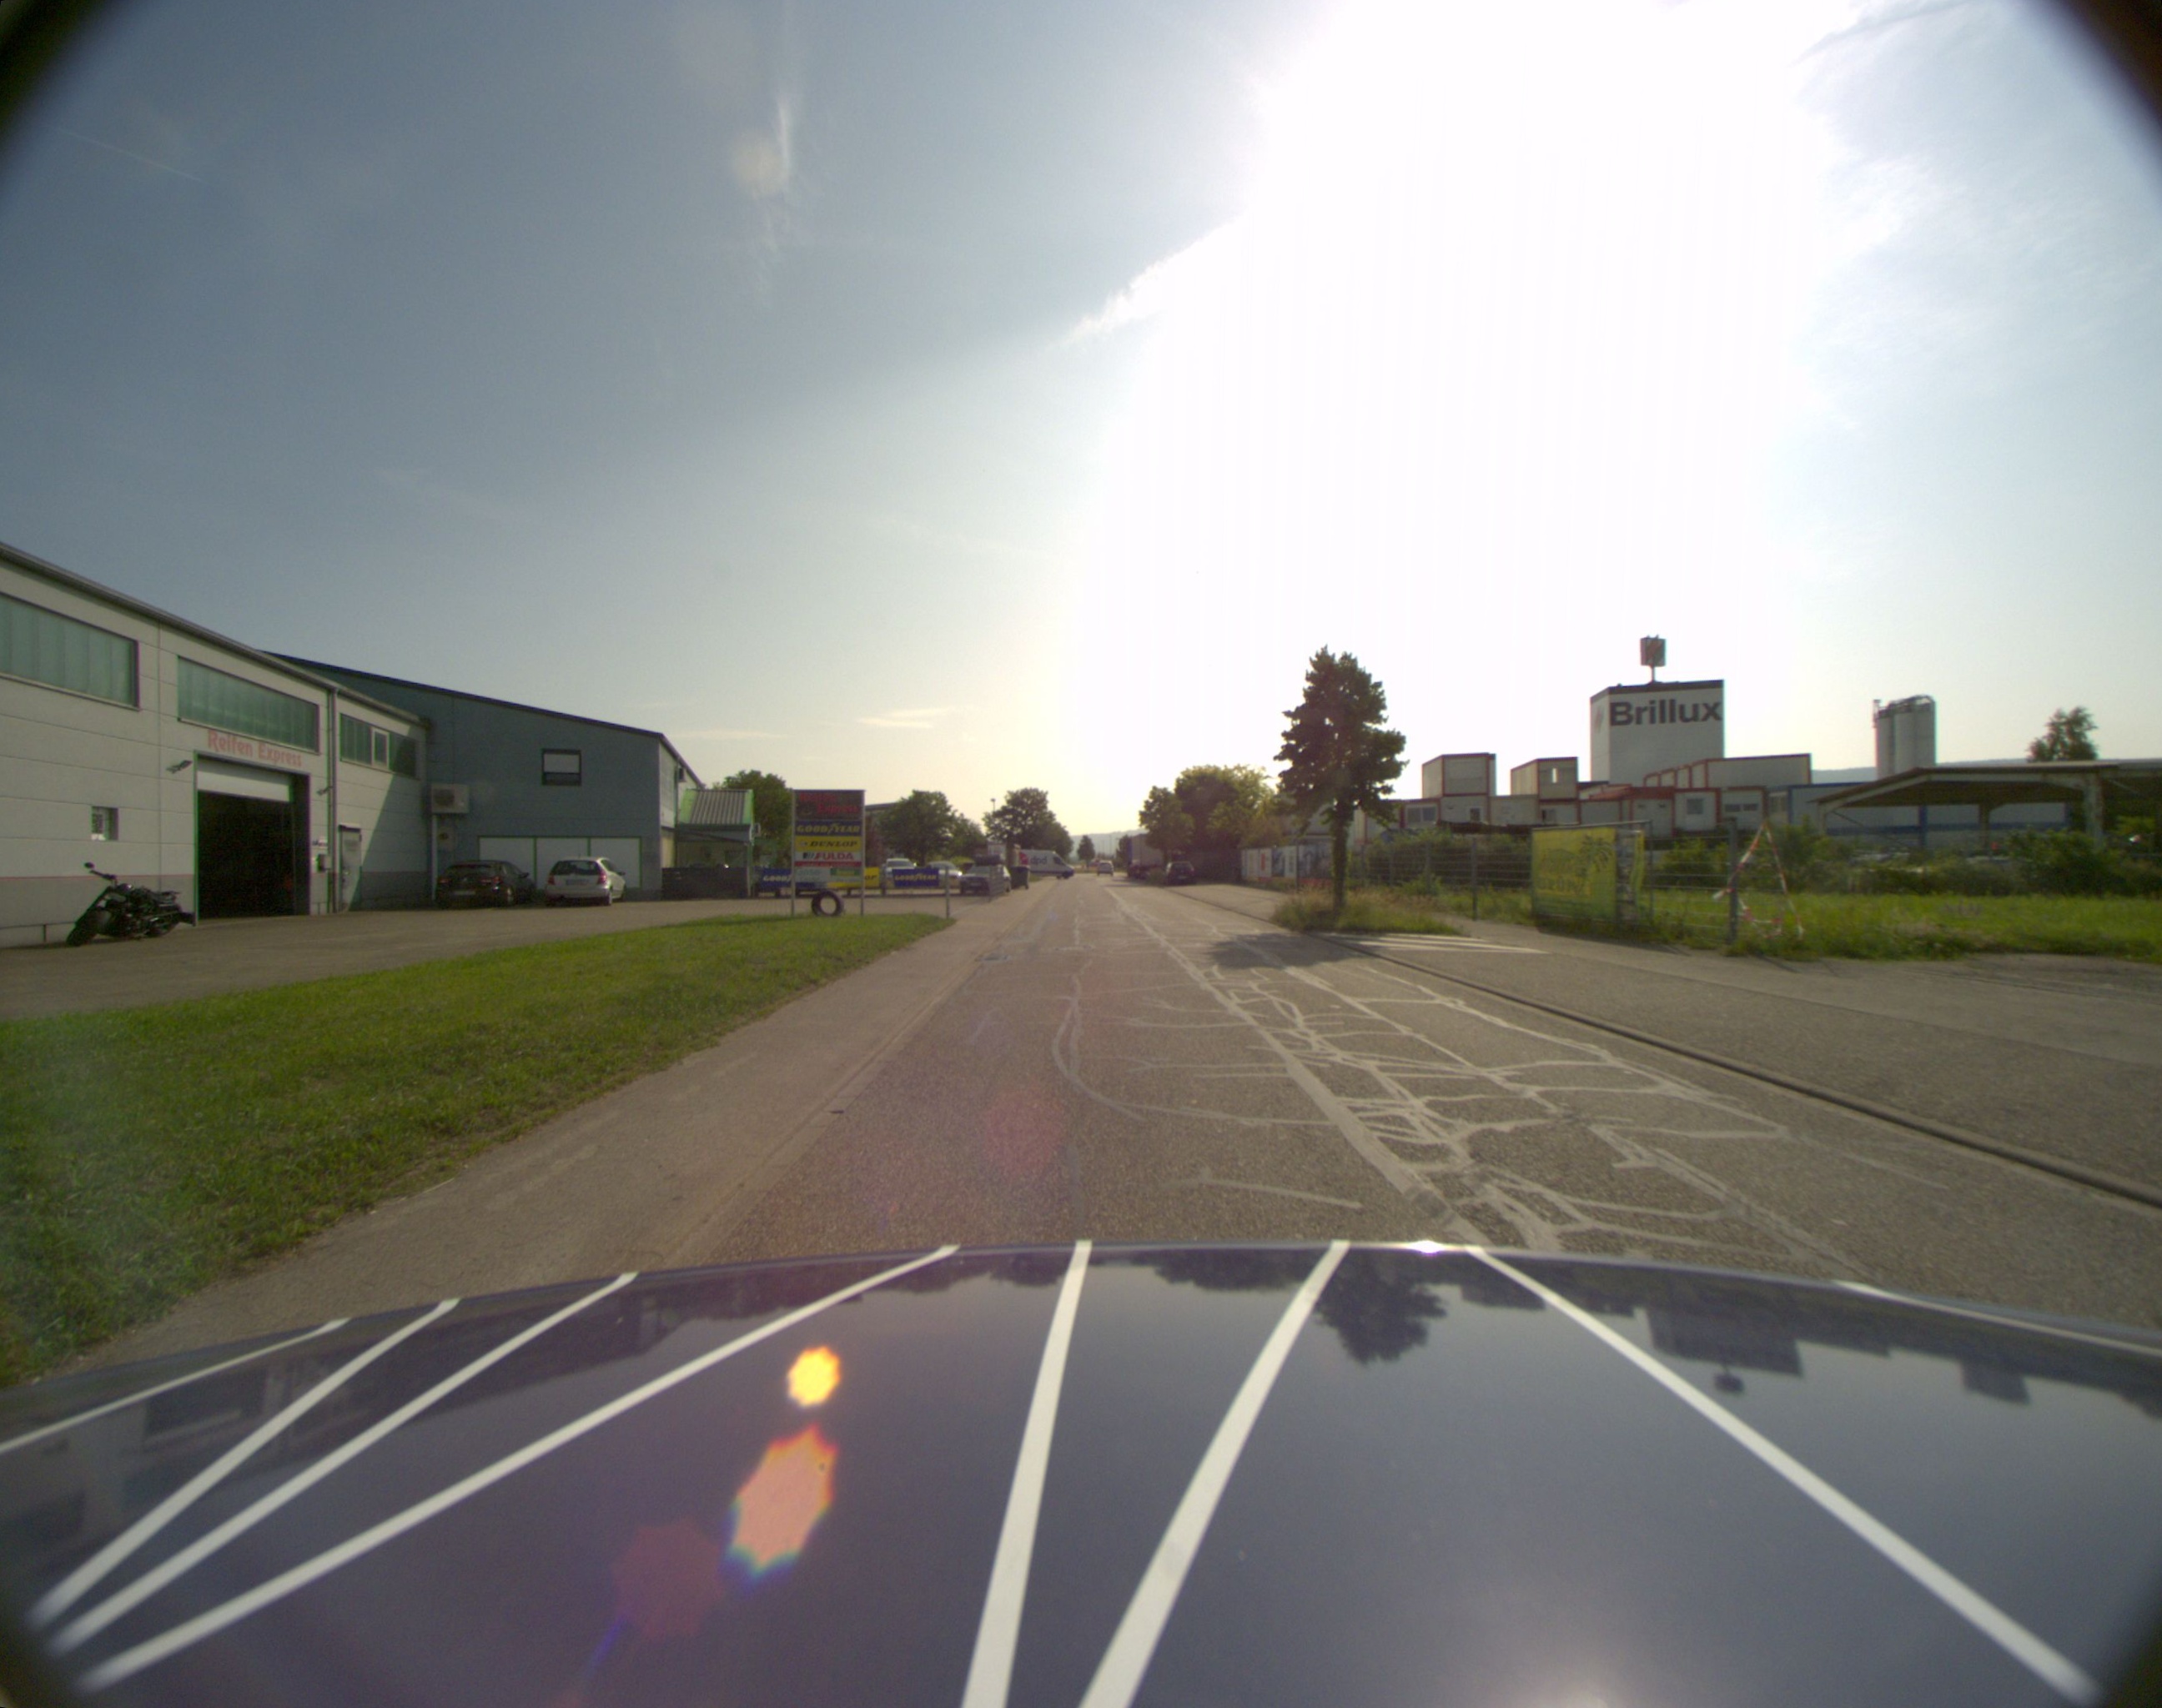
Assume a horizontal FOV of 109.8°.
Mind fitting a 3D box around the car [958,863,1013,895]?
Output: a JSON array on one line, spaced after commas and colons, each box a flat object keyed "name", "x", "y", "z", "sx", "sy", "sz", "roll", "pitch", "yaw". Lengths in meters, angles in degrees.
[{"name": "car", "x": -4.375, "y": 1.115, "z": 35.492, "sx": 1.677, "sy": 1.360, "sz": 4.395, "roll": -1, "pitch": 0, "yaw": 5}]

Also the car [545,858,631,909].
[{"name": "car", "x": -16.266, "y": 0.915, "z": 25.263, "sx": 1.641, "sy": 1.559, "sz": 3.799, "roll": -1, "pitch": 0, "yaw": -21}]

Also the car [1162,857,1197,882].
[{"name": "car", "x": 6.078, "y": 0.904, "z": 47.081, "sx": 1.691, "sy": 1.461, "sz": 4.093, "roll": -1, "pitch": 0, "yaw": 1}]

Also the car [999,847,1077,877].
[{"name": "car", "x": -3.930, "y": 0.712, "z": 69.921, "sx": 6.752, "sy": 2.524, "sz": 2.277, "roll": -2, "pitch": 0, "yaw": -23}]

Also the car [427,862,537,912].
[{"name": "car", "x": -18.675, "y": 0.984, "z": 23.861, "sx": 1.684, "sy": 1.394, "sz": 3.705, "roll": -1, "pitch": 0, "yaw": -21}]

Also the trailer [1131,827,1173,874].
[{"name": "trailer", "x": 6.189, "y": -0.283, "z": 67.583, "sx": 2.707, "sy": 3.861, "sz": 9.764, "roll": -2, "pitch": 0, "yaw": 0}]

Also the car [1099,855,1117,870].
[{"name": "car", "x": 2.955, "y": 0.972, "z": 84.877, "sx": 1.816, "sy": 1.617, "sz": 4.249, "roll": 0, "pitch": 0, "yaw": -1}]

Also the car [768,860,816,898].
[{"name": "car", "x": -12.279, "y": 0.997, "z": 32.126, "sx": 1.647, "sy": 1.457, "sz": 4.452, "roll": -1, "pitch": 0, "yaw": -24}]

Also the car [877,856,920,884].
[{"name": "car", "x": -10.864, "y": 0.907, "z": 45.113, "sx": 1.723, "sy": 1.563, "sz": 4.125, "roll": -1, "pitch": 0, "yaw": -24}]

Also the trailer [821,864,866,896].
[{"name": "trailer", "x": -10.177, "y": 1.095, "z": 32.505, "sx": 1.496, "sy": 1.241, "sz": 2.971, "roll": -2, "pitch": 0, "yaw": -23}]

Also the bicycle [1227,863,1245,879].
[{"name": "bicycle", "x": 9.545, "y": 1.029, "z": 46.849, "sx": 0.563, "sy": 0.967, "sz": 2.452, "roll": 0, "pitch": 0, "yaw": -1}]

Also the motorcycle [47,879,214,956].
[{"name": "motorcycle", "x": -15.703, "y": 1.004, "z": 12.659, "sx": 0.804, "sy": 1.088, "sz": 2.198, "roll": -1, "pitch": 0, "yaw": -24}]

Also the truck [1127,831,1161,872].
[{"name": "truck", "x": 6.324, "y": -0.233, "z": 77.297, "sx": 2.719, "sy": 3.861, "sz": 9.636, "roll": -2, "pitch": 0, "yaw": 1}]

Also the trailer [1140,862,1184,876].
[{"name": "trailer", "x": 6.267, "y": 1.169, "z": 59.585, "sx": 2.656, "sy": 0.979, "sz": 6.242, "roll": 0, "pitch": 0, "yaw": -1}]

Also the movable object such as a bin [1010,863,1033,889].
[{"name": "movable object such as a bin", "x": -3.315, "y": 1.215, "z": 42.626, "sx": 1.083, "sy": 1.345, "sz": 1.506, "roll": 2, "pitch": 0, "yaw": 3}]

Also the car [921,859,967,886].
[{"name": "car", "x": -8.169, "y": 1.057, "z": 45.012, "sx": 1.695, "sy": 1.457, "sz": 4.254, "roll": -1, "pitch": 0, "yaw": -24}]

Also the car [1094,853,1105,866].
[{"name": "car", "x": 3.757, "y": 1.113, "z": 155.570, "sx": 1.998, "sy": 2.532, "sz": 6.990, "roll": 0, "pitch": 0, "yaw": 0}]
